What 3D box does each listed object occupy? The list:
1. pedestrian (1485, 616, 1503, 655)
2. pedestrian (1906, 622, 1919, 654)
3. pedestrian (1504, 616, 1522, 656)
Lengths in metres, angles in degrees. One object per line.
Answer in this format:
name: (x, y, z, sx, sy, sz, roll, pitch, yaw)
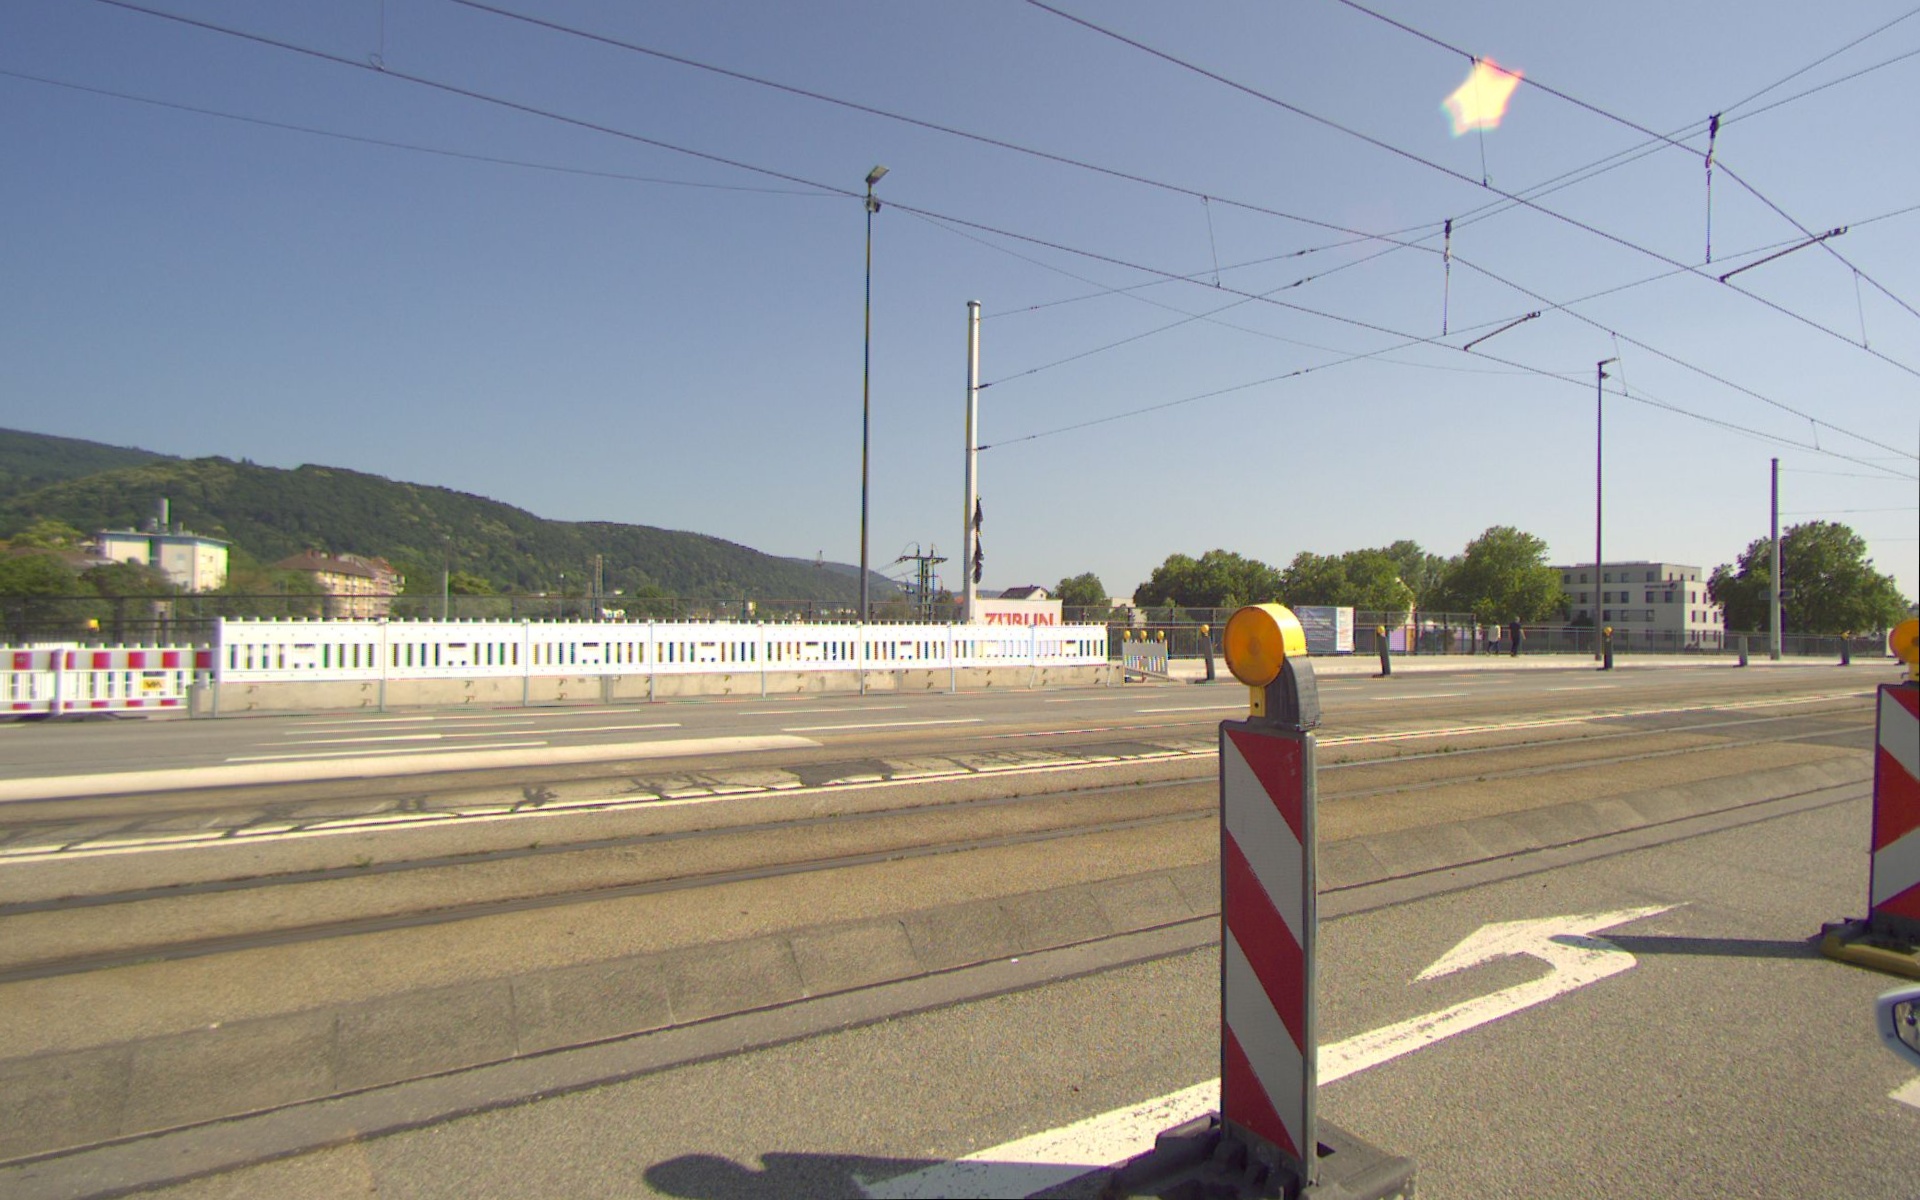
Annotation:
pedestrian: (23.610, 1.559, 44.390, 0.468, 1.717, 0.493, 2, 0, -30)
pedestrian: (57.862, 2.300, 60.844, 0.743, 1.919, 0.631, 1, 0, -30)
pedestrian: (23.906, 1.552, 43.435, 0.468, 1.717, 0.493, 2, 0, -30)
